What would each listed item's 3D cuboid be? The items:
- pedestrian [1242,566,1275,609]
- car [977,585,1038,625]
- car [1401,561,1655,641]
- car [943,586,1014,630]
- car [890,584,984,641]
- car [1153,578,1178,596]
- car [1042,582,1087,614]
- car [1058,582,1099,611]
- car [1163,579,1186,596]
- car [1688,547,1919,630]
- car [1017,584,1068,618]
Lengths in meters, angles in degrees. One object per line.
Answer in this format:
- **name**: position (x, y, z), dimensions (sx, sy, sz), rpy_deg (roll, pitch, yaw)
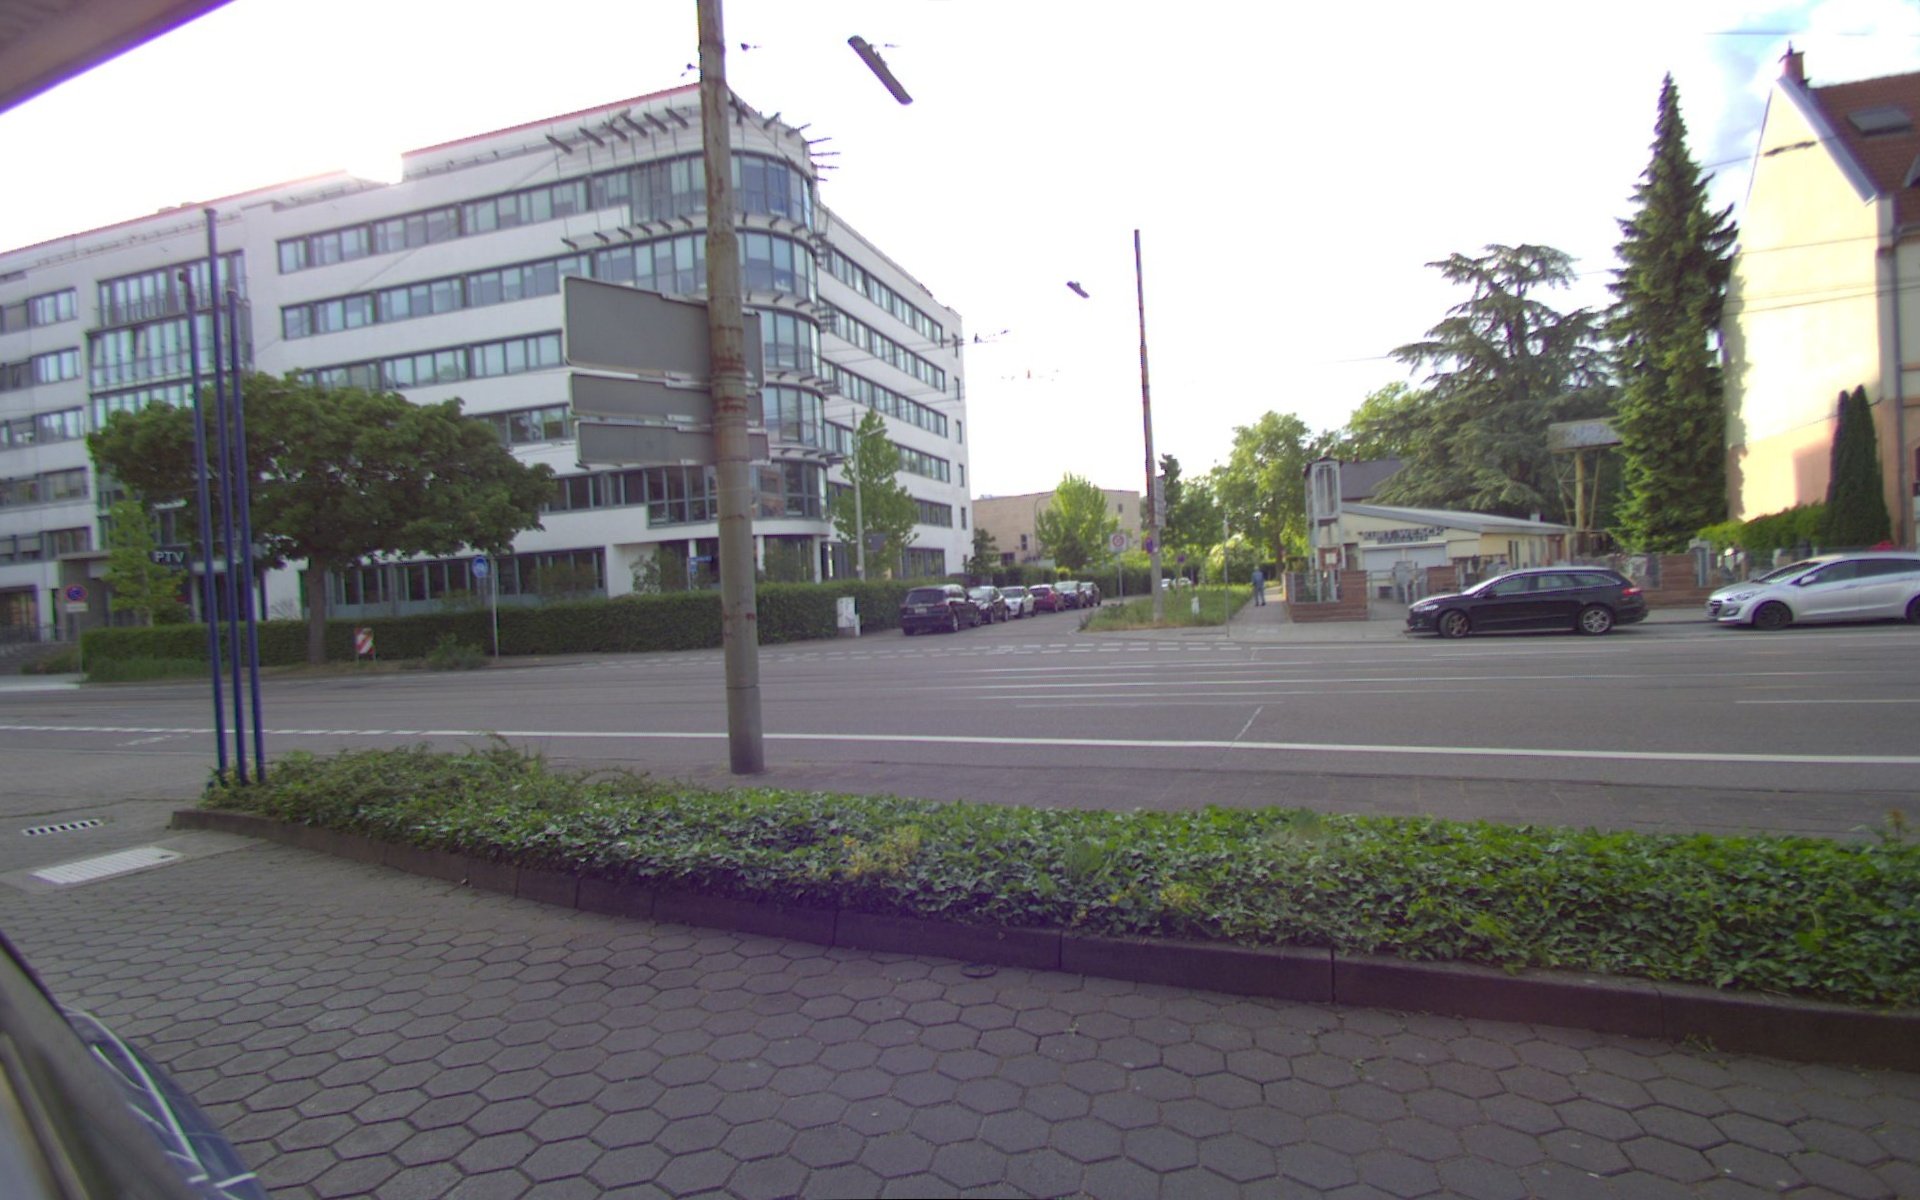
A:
- **pedestrian**: position (13.001, -0.547, 44.077), dimensions (1.006, 1.843, 1.077), rpy_deg (-1, 0, 43)
- **car**: position (2.210, 0.178, 45.752), dimensions (1.773, 1.565, 4.083), rpy_deg (-4, 0, 17)
- **car**: position (12.918, 0.043, 23.412), dimensions (4.791, 1.507, 1.986), rpy_deg (-4, 0, 22)
- **car**: position (0.801, 0.291, 40.891), dimensions (1.773, 1.565, 4.083), rpy_deg (-4, 0, 17)
- **car**: position (-0.719, 0.382, 35.534), dimensions (1.962, 1.625, 4.411), rpy_deg (-4, 2, 17)
- **car**: position (20.433, -1.263, 100.610), dimensions (1.774, 1.653, 4.060), rpy_deg (-4, 0, 19)
- **car**: position (5.986, -0.133, 57.658), dimensions (1.773, 1.653, 4.064), rpy_deg (-4, 0, 17)
- **car**: position (7.377, -0.230, 62.668), dimensions (1.773, 1.653, 4.064), rpy_deg (-4, 0, 17)
- **car**: position (22.572, -1.291, 106.307), dimensions (1.774, 1.653, 4.060), rpy_deg (-4, 0, 19)
- **car**: position (18.494, -0.259, 21.494), dimensions (4.459, 1.486, 1.986), rpy_deg (-4, 0, 22)
- **car**: position (4.291, 0.026, 52.357), dimensions (1.773, 1.552, 4.018), rpy_deg (-4, 0, 17)
